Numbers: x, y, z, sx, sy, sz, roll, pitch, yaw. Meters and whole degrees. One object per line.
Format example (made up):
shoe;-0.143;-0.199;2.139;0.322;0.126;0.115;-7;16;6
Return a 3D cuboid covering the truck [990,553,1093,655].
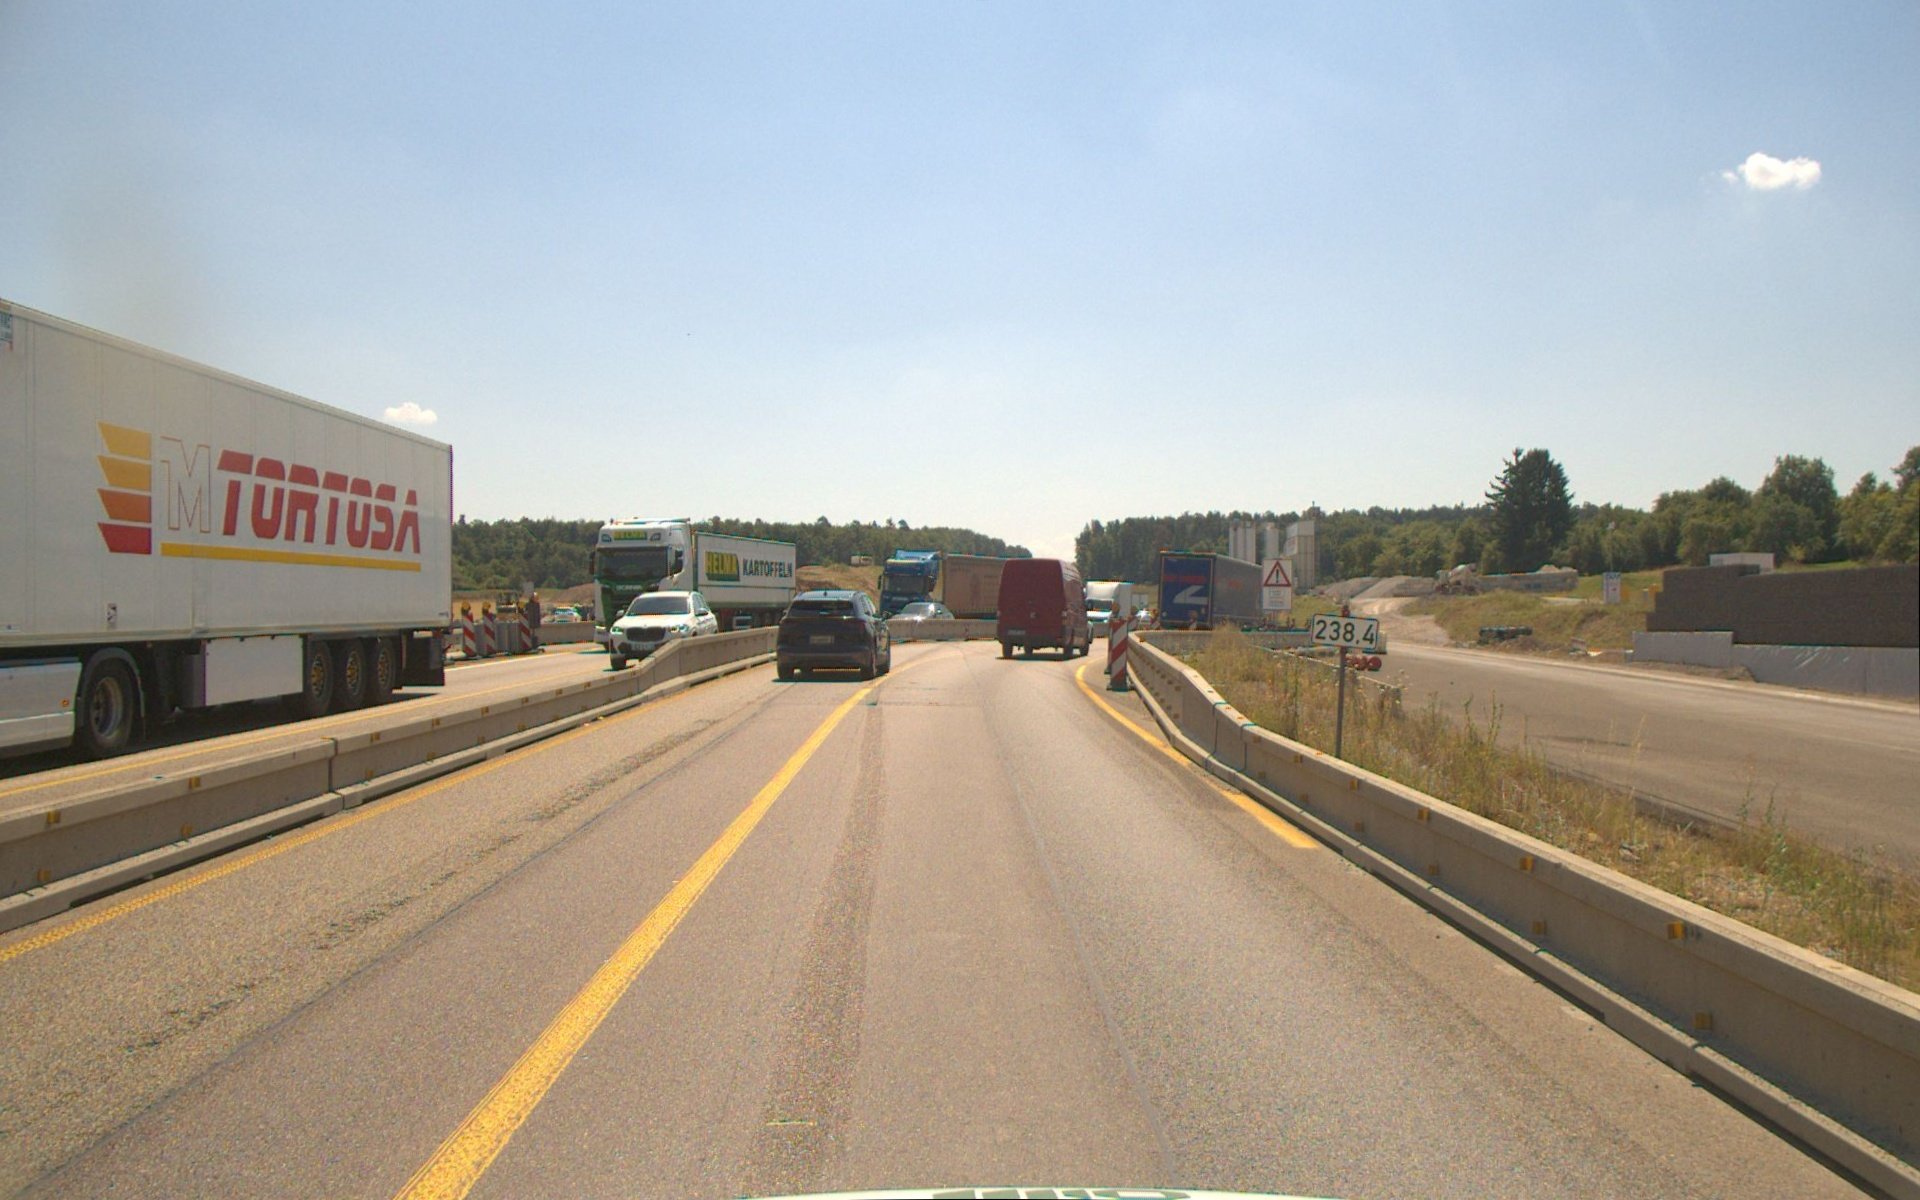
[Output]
truck;2.425;0.129;47.069;2.066;2.679;6.489;1;0;10

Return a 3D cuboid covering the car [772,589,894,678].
car;-2.344;0.604;31.413;1.757;1.561;3.933;1;0;3

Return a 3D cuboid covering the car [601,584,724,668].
car;-6.723;0.576;37.831;1.953;1.769;4.493;1;0;0

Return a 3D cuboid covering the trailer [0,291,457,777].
trailer;-9.581;-0.638;20.708;2.758;4.165;13.120;1;0;-1

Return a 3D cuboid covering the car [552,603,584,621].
car;-31.299;0.962;132.042;1.579;1.434;4.445;1;0;-2

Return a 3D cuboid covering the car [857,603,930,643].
car;-2.615;0.903;66.076;1.717;1.504;4.540;1;0;14

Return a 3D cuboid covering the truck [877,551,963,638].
truck;-1.925;-0.249;81.935;2.491;4.152;5.547;1;0;18

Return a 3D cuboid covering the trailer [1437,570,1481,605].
trailer;61.727;-1.554;204.752;2.704;4.186;6.733;1;0;-8

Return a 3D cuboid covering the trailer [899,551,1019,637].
trailer;0.153;-0.254;88.510;2.532;4.225;13.070;1;0;18

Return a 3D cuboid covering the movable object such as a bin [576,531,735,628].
movable object such as a bin;-14.550;-0.903;79.923;2.865;4.405;9.323;1;0;23

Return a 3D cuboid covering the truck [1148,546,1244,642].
truck;11.117;-0.258;77.251;2.952;4.225;8.275;1;0;18

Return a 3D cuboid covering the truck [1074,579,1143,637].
truck;9.271;0.488;102.830;2.525;3.440;6.929;1;0;20

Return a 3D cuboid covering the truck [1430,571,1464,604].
truck;61.277;-1.551;208.169;2.693;4.167;4.093;1;0;-8

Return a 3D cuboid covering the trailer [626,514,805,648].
trailer;-8.304;-0.567;58.377;2.303;4.225;12.509;1;0;10

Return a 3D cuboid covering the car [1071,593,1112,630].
car;6.074;0.517;76.176;1.763;1.607;4.003;1;0;6

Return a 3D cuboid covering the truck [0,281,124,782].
truck;-9.432;-0.590;13.196;2.773;4.204;5.456;1;0;-1

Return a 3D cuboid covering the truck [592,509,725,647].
truck;-9.337;-0.633;51.772;2.396;4.078;5.081;1;0;10
